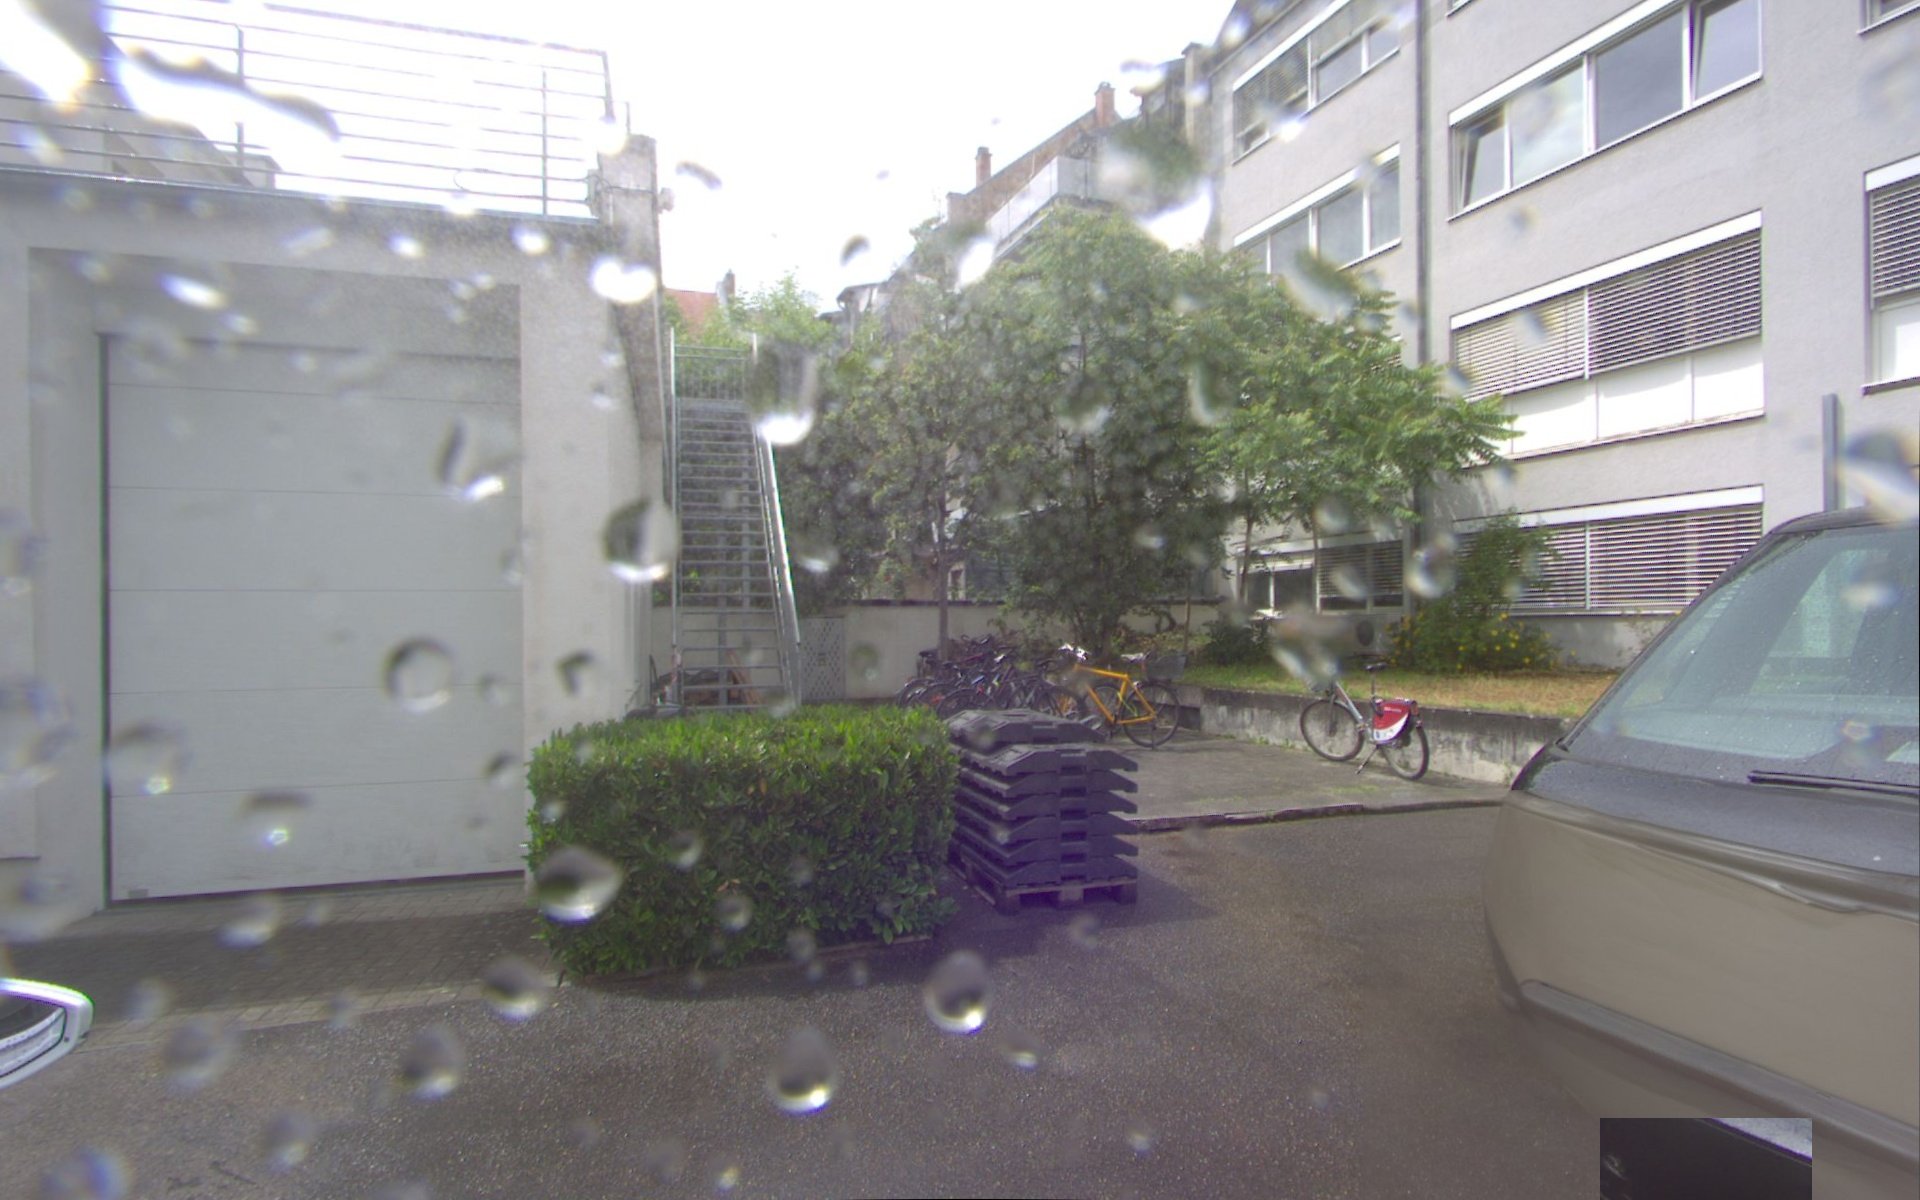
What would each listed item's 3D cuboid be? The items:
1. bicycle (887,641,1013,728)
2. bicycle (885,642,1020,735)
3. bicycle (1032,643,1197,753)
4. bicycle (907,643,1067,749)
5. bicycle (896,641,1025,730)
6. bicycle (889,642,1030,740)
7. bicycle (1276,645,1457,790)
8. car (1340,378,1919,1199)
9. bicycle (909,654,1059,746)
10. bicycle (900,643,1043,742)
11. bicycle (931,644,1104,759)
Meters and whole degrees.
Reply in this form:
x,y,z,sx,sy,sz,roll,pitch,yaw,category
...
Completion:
x,y,z,sx,sy,sz,roll,pitch,yaw,category
-0.128,1.137,13.719,1.727,1.118,0.341,0,0,-23,bicycle
-0.086,1.108,12.782,1.727,1.118,0.344,0,0,-23,bicycle
1.674,1.040,10.831,1.764,1.118,0.366,0,0,-15,bicycle
0.307,1.049,11.162,1.764,1.118,0.354,0,0,-15,bicycle
0.016,1.125,13.380,1.727,1.118,0.354,0,0,-23,bicycle
0.006,1.094,12.302,1.727,1.118,0.341,0,0,-23,bicycle
3.624,1.000,9.103,0.439,1.118,1.793,-3,0,-18,bicycle
3.489,0.593,2.526,4.670,1.889,1.964,-1,-1,-24,car
0.290,1.140,11.666,1.767,0.980,0.329,0,0,-23,bicycle
0.152,1.082,11.979,1.727,1.118,0.332,0,0,-23,bicycle
0.603,1.030,10.410,1.764,1.118,0.405,0,0,-15,bicycle
